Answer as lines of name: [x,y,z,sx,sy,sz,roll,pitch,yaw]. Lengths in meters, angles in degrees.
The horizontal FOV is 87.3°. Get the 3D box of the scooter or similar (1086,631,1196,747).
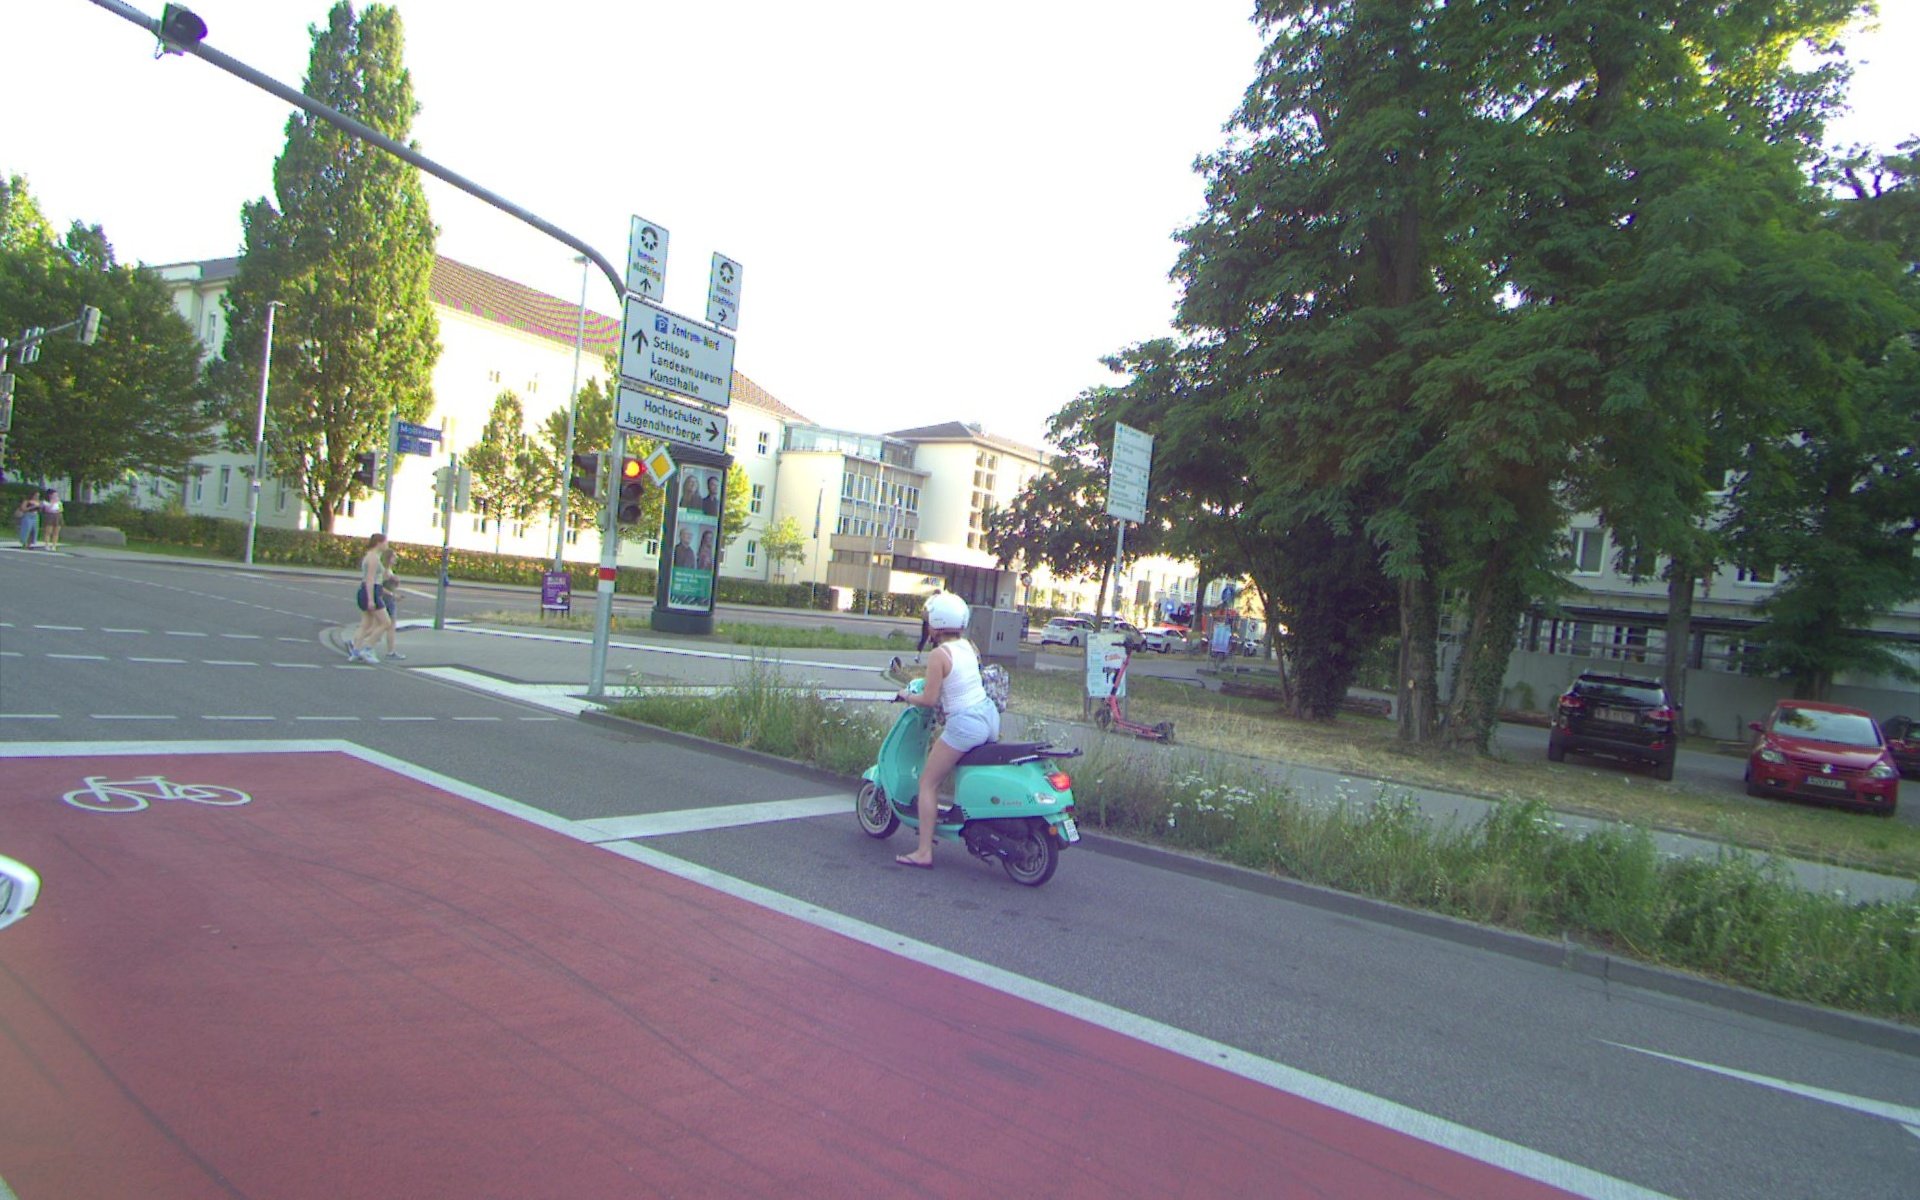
scooter or similar: [2.284,1.111,12.745,1.159,1.288,0.440,7,1,31]

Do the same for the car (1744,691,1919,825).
car: [14.055,2.422,16.372,1.890,1.631,3.984,7,0,38]

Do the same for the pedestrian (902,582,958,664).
pedestrian: [-0.682,0.523,22.843,0.694,1.761,0.892,7,1,40]

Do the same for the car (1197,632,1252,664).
car: [16.740,3.035,63.525,1.969,1.660,3.987,7,0,35]

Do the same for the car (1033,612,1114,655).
car: [5.436,1.613,47.733,1.872,1.660,3.983,7,0,38]

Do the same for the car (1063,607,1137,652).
car: [7.740,1.650,55.274,2.024,1.884,4.486,7,-2,35]

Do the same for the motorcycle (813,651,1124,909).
motorcycle: [0.001,1.063,6.451,1.866,1.212,0.681,7,0,40]

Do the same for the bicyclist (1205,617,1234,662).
bicyclist: [9.806,1.492,37.965,0.563,1.609,0.904,7,1,40]

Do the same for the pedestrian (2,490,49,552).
pedestrian: [-26.519,-2.238,28.537,0.831,1.643,0.681,8,2,32]

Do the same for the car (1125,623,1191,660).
car: [10.894,2.306,55.258,1.969,1.660,3.987,7,0,35]

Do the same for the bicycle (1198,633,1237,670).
bicycle: [9.748,1.961,38.002,0.563,1.256,1.891,7,0,40]

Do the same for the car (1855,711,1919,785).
car: [23.001,3.584,24.039,1.742,1.477,3.618,7,0,33]

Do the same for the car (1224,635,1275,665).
car: [19.663,3.406,68.202,1.969,1.660,3.987,7,0,35]

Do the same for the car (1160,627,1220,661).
car: [13.727,2.655,59.965,1.969,1.660,3.987,7,0,35]

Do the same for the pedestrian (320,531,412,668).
pedestrian: [-7.808,-0.003,13.227,0.712,1.681,0.772,7,2,45]

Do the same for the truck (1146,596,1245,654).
truck: [15.932,1.777,67.364,2.599,3.179,10.243,6,0,35]

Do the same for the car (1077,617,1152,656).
car: [7.906,1.872,51.260,1.970,1.632,3.985,7,0,37]

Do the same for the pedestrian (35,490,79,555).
pedestrian: [-26.157,-2.236,29.139,0.677,1.776,0.681,8,2,31]

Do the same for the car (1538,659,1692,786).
car: [11.774,2.092,17.950,1.890,1.762,4.223,7,0,37]

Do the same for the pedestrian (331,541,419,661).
pedestrian: [-8.090,0.014,13.914,0.784,1.542,0.728,5,2,-44]

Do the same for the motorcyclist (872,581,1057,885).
motorcyclist: [0.036,0.818,6.448,0.680,1.758,0.737,7,1,40]
